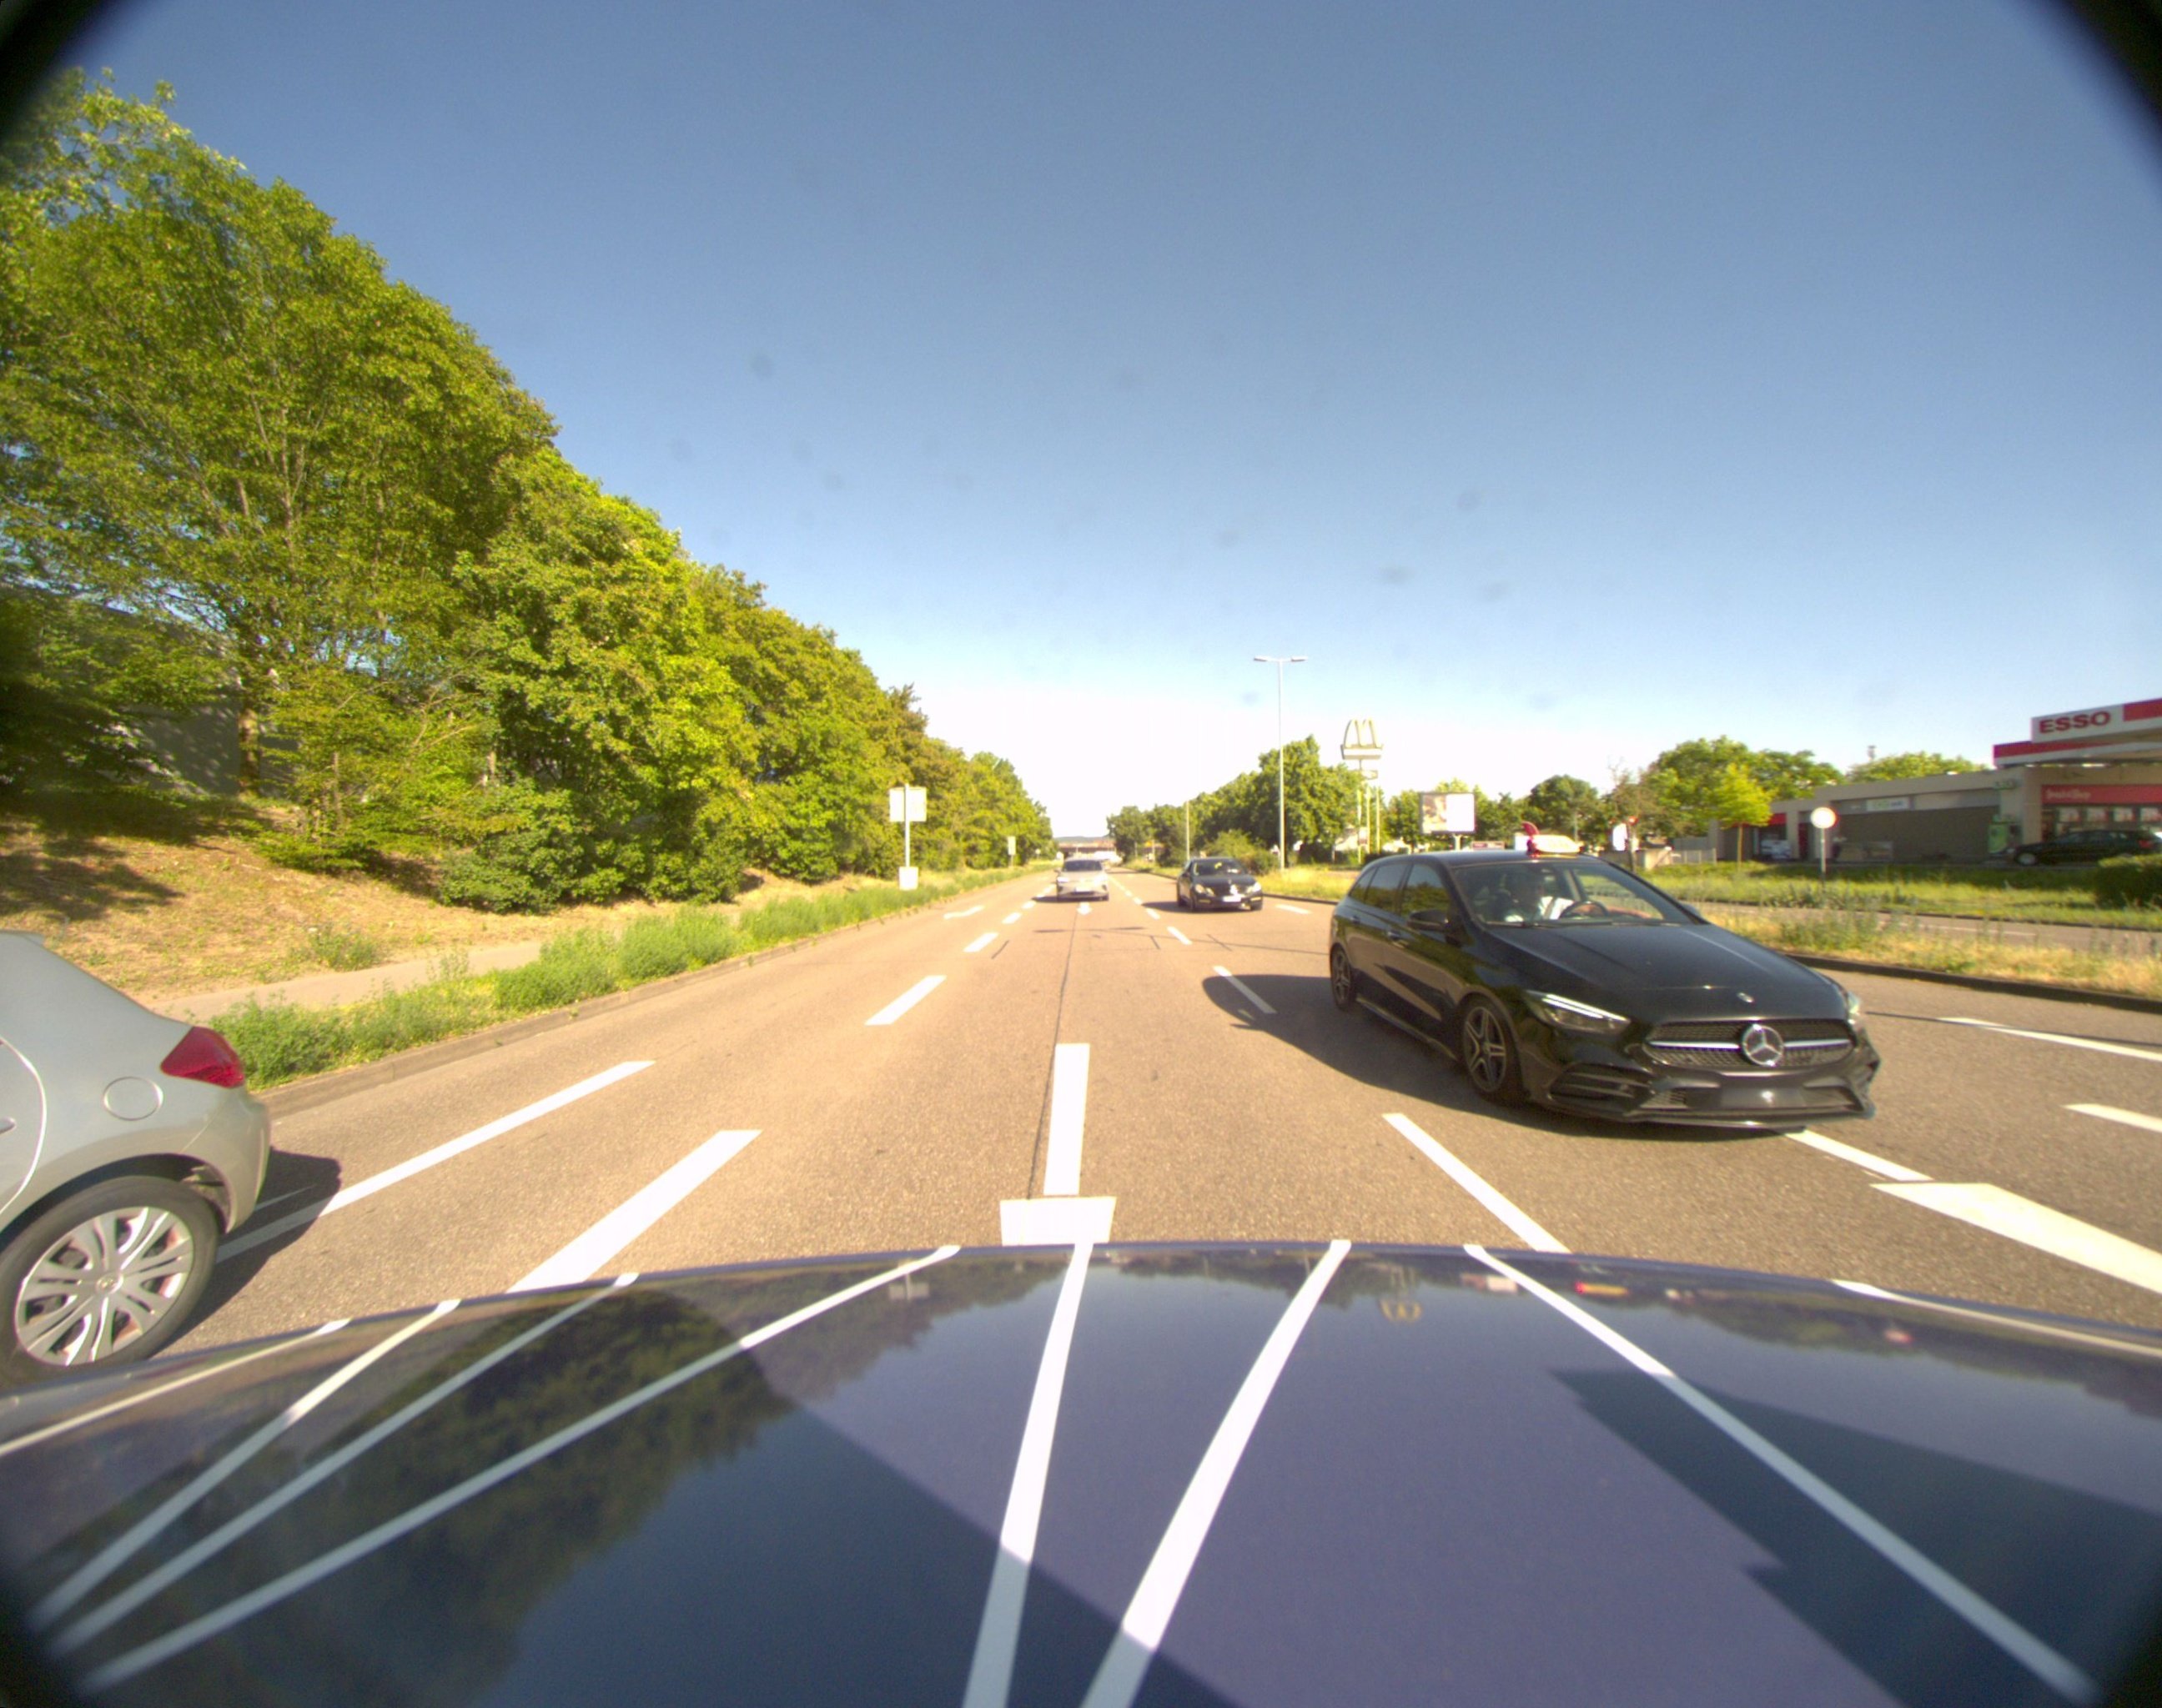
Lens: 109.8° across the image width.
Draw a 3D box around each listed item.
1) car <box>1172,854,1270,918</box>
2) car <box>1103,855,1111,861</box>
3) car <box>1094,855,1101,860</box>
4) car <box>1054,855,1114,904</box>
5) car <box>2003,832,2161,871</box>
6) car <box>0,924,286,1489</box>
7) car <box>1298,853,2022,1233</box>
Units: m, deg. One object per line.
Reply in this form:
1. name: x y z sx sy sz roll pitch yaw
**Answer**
1. car: 3.810 0.802 21.470 1.953 1.501 4.462 -2 1 1
2. car: 6.612 0.912 193.294 1.998 1.433 4.000 -1 0 1
3. car: 5.107 1.005 235.154 1.998 1.433 4.000 -1 0 1
4. car: 0.130 0.872 28.176 2.025 1.601 4.098 -2 0 1
5. car: 39.819 -0.100 30.001 1.998 1.397 4.000 -1 0 0
6. car: -3.991 1.064 0.856 1.788 1.528 4.108 -2 0 1
7. car: 3.161 0.818 5.573 1.788 1.592 4.583 -2 0 0
